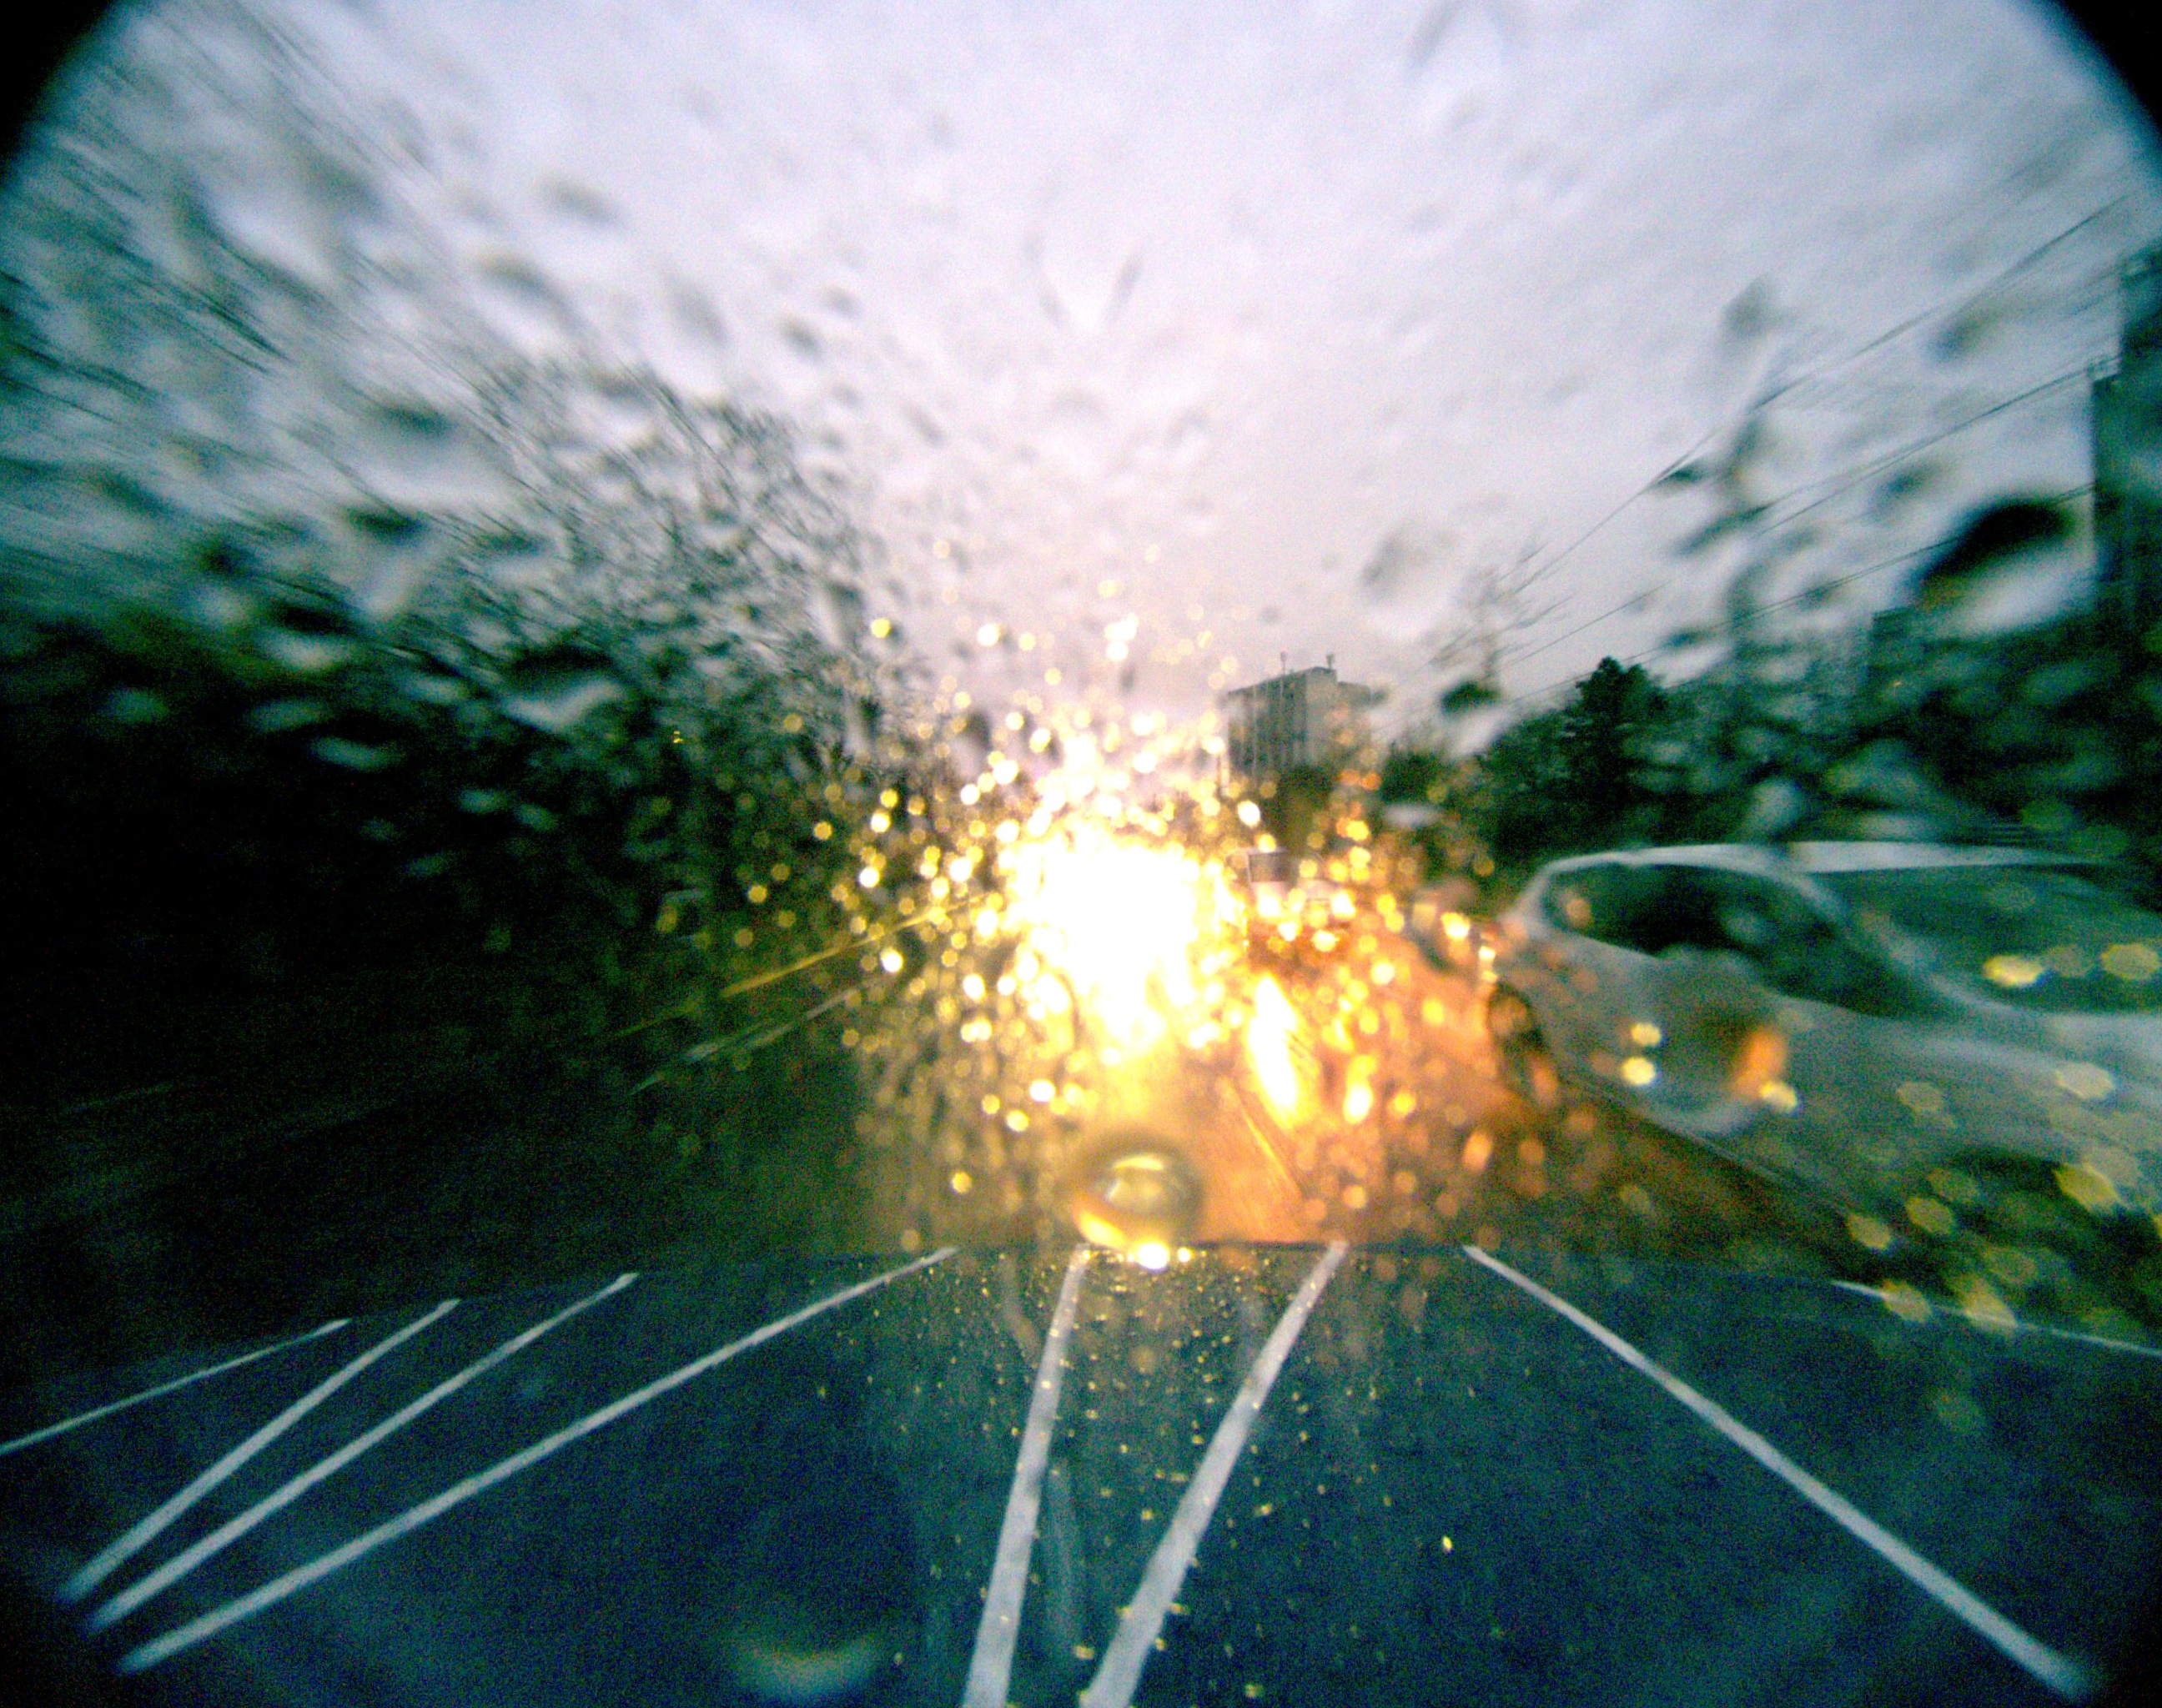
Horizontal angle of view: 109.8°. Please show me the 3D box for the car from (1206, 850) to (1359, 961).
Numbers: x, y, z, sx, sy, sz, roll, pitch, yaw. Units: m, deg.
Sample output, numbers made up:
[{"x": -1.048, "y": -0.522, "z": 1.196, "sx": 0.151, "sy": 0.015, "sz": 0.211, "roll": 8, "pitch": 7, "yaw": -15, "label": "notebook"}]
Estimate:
[{"x": 3.280, "y": 0.747, "z": 13.171, "sx": 1.693, "sy": 1.530, "sz": 4.191, "roll": -2, "pitch": 0, "yaw": 3, "label": "car"}]

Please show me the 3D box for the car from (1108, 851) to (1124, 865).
[{"x": 4.715, "y": 0.517, "z": 102.123, "sx": 1.998, "sy": 1.605, "sz": 3.999, "roll": -3, "pitch": 1, "yaw": 1, "label": "car"}]

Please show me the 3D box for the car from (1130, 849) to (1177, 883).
[{"x": 3.598, "y": 0.579, "z": 38.509, "sx": 1.953, "sy": 1.590, "sz": 4.124, "roll": -1, "pitch": 0, "yaw": 0, "label": "car"}]

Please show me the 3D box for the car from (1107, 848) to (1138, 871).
[{"x": 2.984, "y": 0.374, "z": 55.674, "sx": 1.953, "sy": 1.590, "sz": 4.124, "roll": -1, "pitch": 0, "yaw": 0, "label": "car"}]

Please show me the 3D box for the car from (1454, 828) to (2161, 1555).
[{"x": 3.303, "y": 0.738, "z": 2.948, "sx": 1.718, "sy": 1.638, "sz": 4.147, "roll": -1, "pitch": 0, "yaw": 1, "label": "car"}]

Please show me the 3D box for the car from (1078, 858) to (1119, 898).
[{"x": 0.769, "y": 1.017, "z": 34.070, "sx": 1.679, "sy": 1.590, "sz": 4.044, "roll": -1, "pitch": 0, "yaw": 1, "label": "car"}]

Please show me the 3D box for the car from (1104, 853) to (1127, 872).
[{"x": 3.380, "y": 0.834, "z": 75.324, "sx": 1.998, "sy": 1.652, "sz": 3.999, "roll": -3, "pitch": 1, "yaw": 1, "label": "car"}]
